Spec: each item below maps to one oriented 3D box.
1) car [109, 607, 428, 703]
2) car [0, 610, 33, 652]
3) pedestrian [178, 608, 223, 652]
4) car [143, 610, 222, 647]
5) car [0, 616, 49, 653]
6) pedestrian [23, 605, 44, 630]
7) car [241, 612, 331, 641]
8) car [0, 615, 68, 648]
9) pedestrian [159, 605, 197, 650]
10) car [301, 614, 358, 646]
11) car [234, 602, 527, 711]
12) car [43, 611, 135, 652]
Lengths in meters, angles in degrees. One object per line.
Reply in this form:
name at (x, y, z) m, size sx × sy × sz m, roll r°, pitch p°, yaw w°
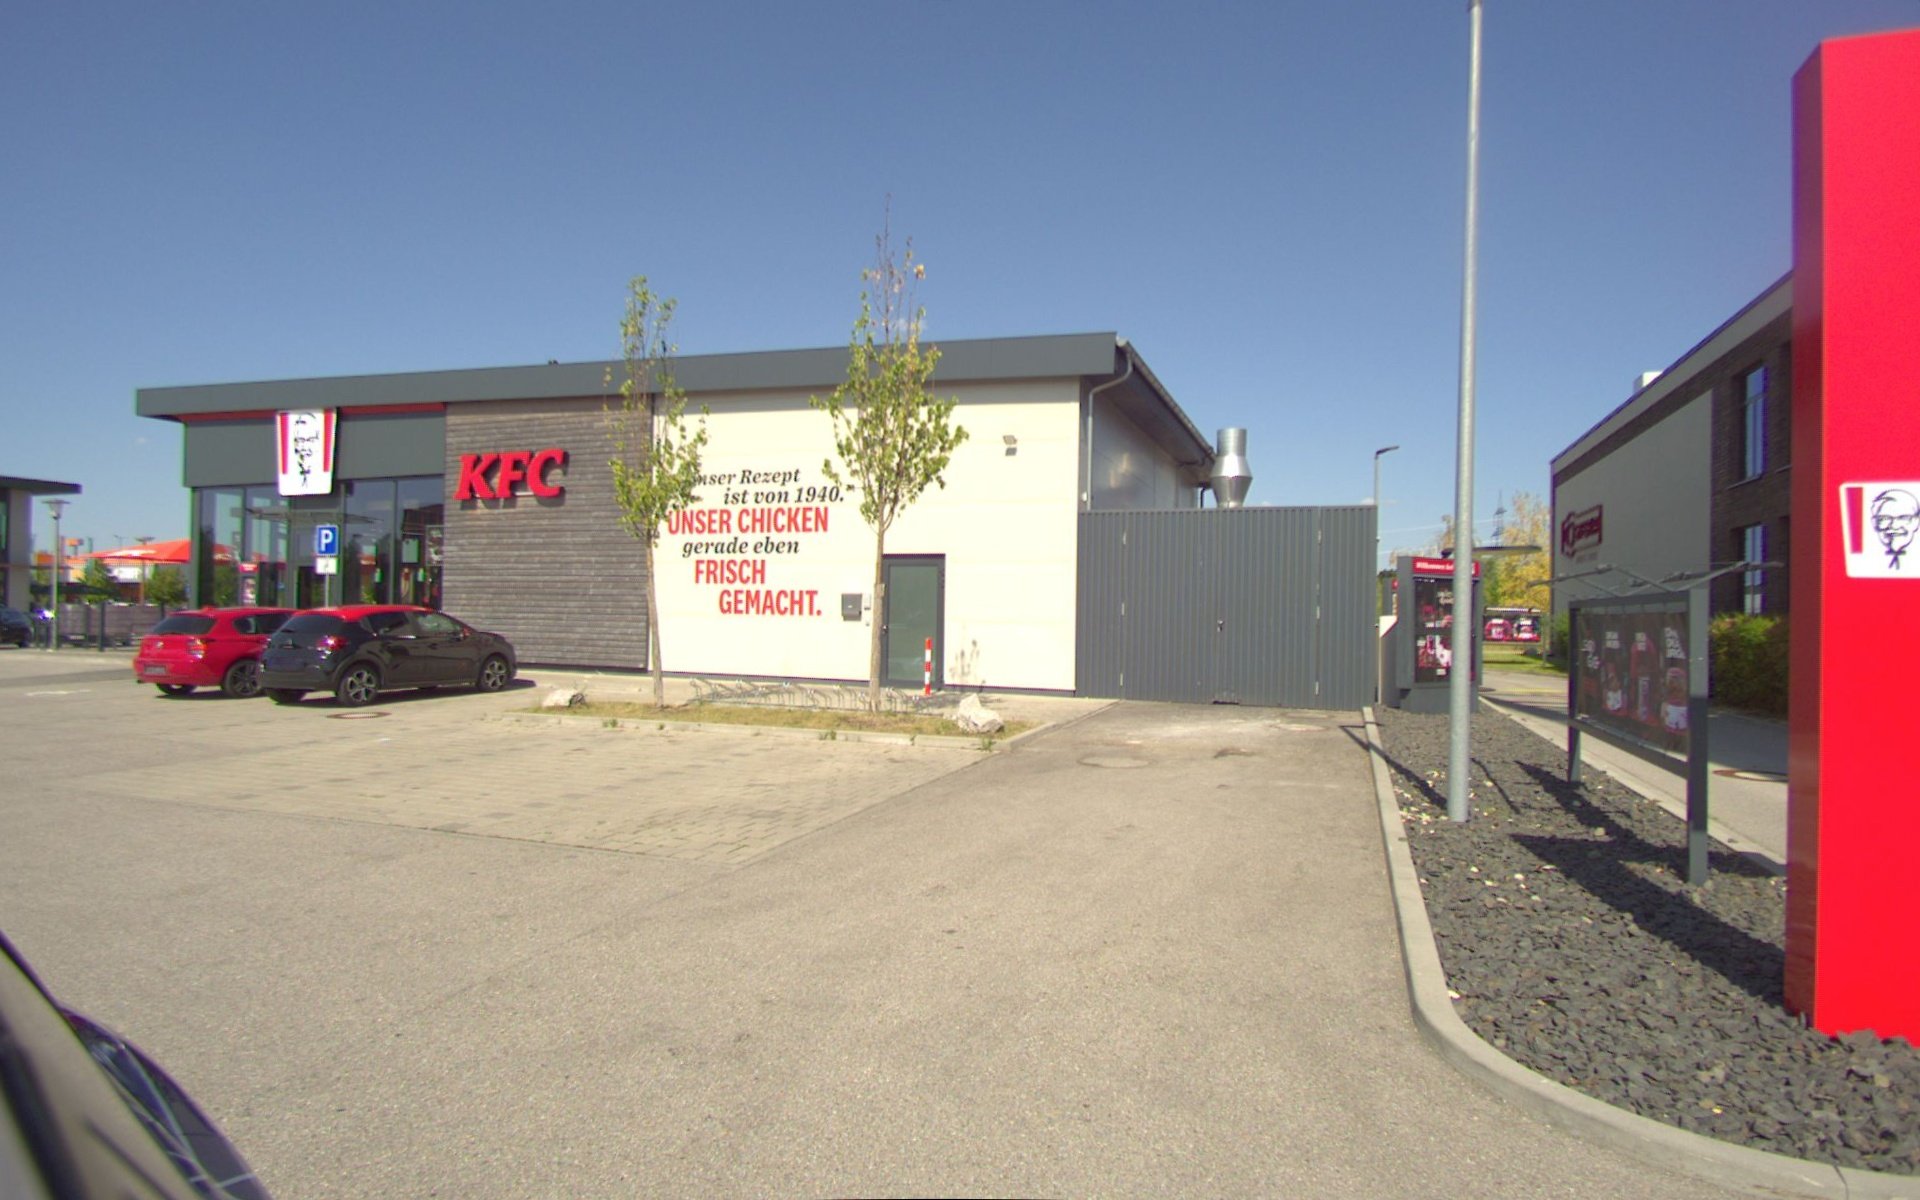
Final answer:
car at (-11.559, 0.834, 17.329) m, size 1.726 × 1.423 × 4.374 m, roll 0°, pitch 0°, yaw 19°
car at (-35.314, 1.126, 36.168) m, size 1.941 × 1.498 × 4.799 m, roll 1°, pitch -2°, yaw -26°
pedestrian at (-22.617, 0.889, 30.153) m, size 0.677 × 1.283 × 0.840 m, roll 0°, pitch -2°, yaw 5°
car at (-33.002, 1.214, 43.097) m, size 1.805 × 1.471 × 4.599 m, roll 1°, pitch -2°, yaw -26°
car at (-41.380, 1.444, 42.524) m, size 4.206 × 1.498 × 1.819 m, roll 0°, pitch -1°, yaw -23°
pedestrian at (-60.458, 1.139, 66.029) m, size 0.691 × 1.571 × 0.723 m, roll 0°, pitch -2°, yaw -7°
car at (-36.999, 1.441, 55.678) m, size 3.930 × 1.564 × 1.760 m, roll 1°, pitch -2°, yaw -26°
car at (-44.641, 1.431, 46.901) m, size 4.564 × 1.498 × 1.902 m, roll 0°, pitch -1°, yaw -23°
pedestrian at (-22.690, 0.806, 29.369) m, size 0.606 × 1.283 × 0.623 m, roll 0°, pitch -2°, yaw 5°
car at (-30.568, 1.459, 49.207) m, size 1.941 × 1.471 × 4.221 m, roll 1°, pitch -2°, yaw -26°
car at (-9.035, 0.799, 16.161) m, size 1.728 × 1.518 × 3.882 m, roll 0°, pitch 0°, yaw 20°
car at (-33.810, 1.209, 39.414) m, size 1.805 × 1.471 × 4.384 m, roll 1°, pitch -2°, yaw -28°
